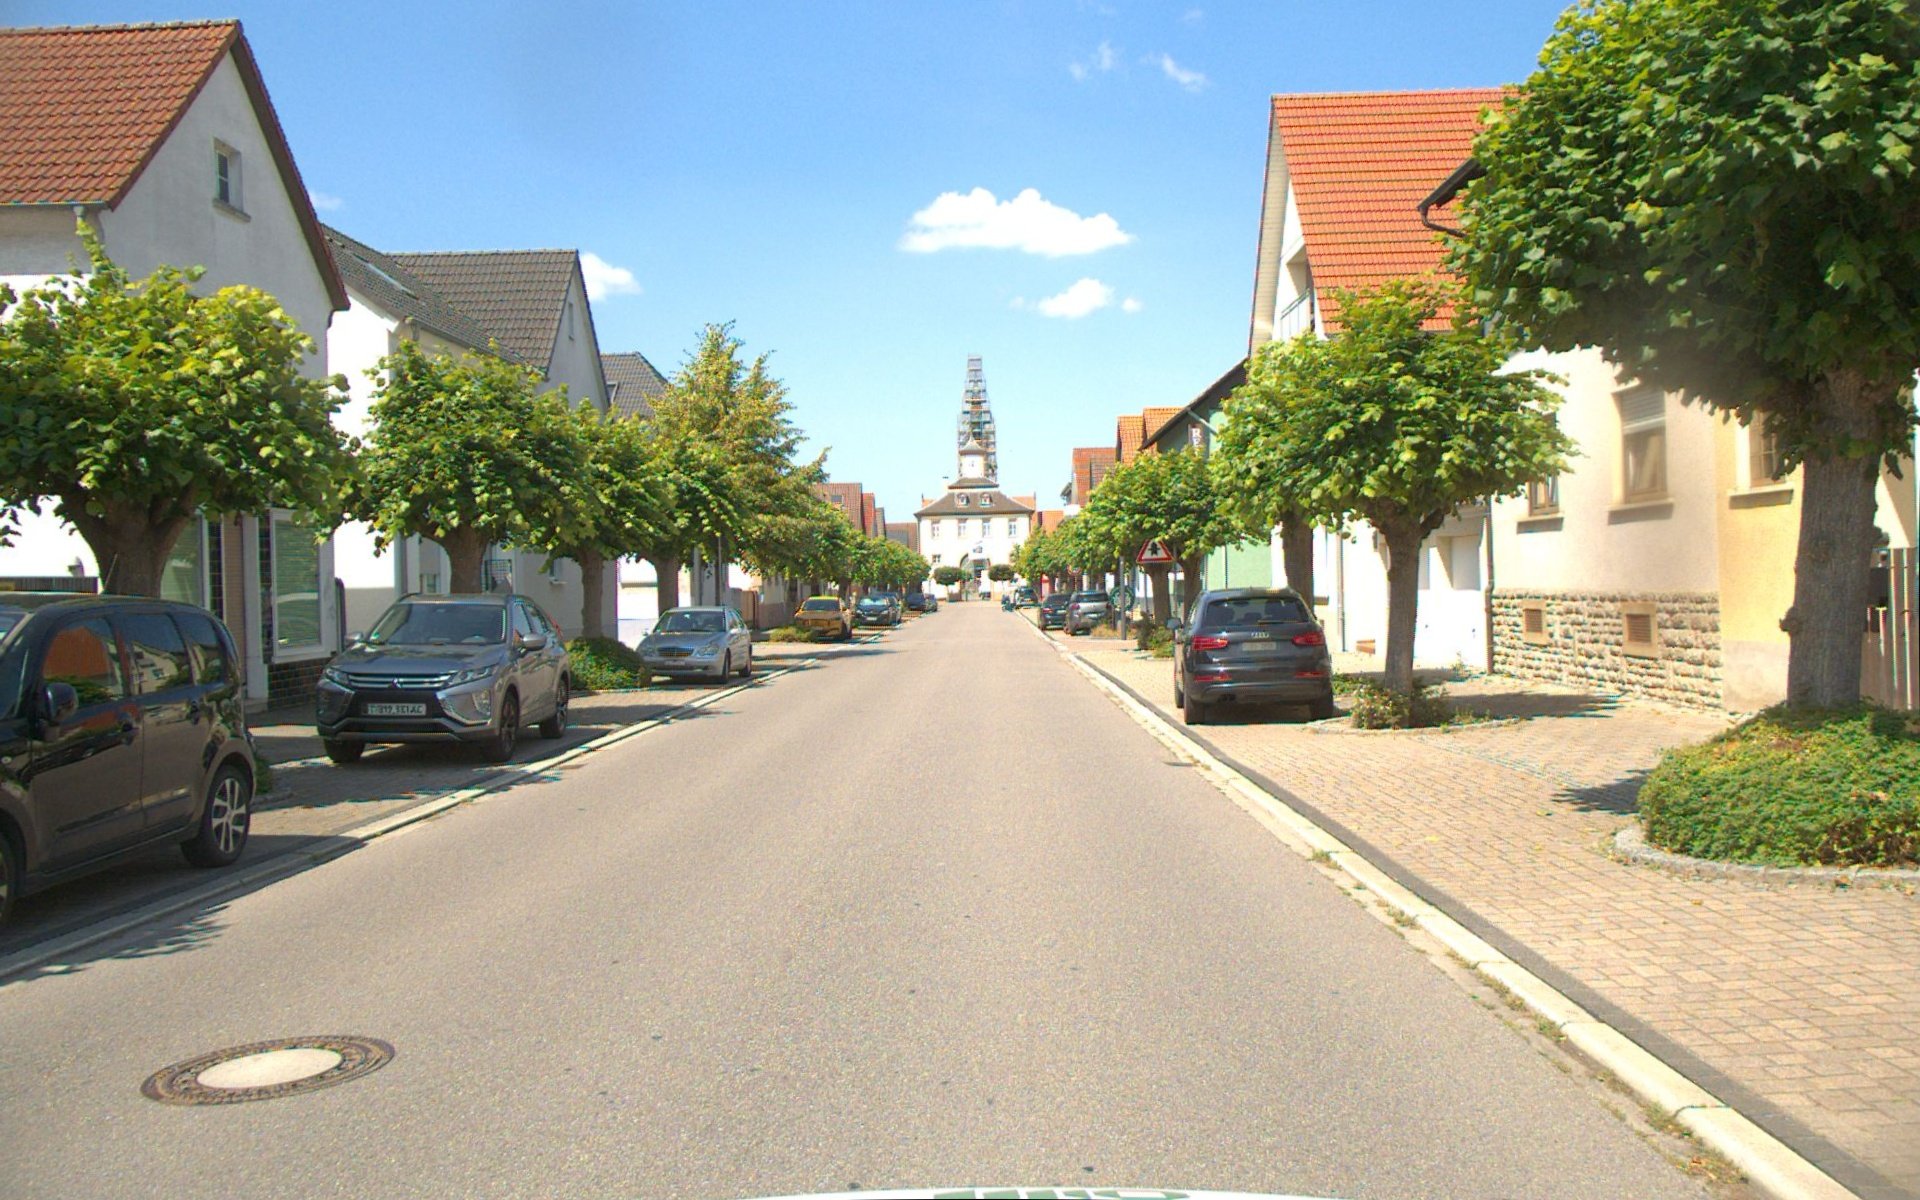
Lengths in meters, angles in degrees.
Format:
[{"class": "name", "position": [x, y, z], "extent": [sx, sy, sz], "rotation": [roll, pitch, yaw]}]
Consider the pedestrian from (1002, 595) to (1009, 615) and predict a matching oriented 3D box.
[{"class": "pedestrian", "position": [3.265, 0.367, 118.495], "extent": [0.352, 1.427, 0.319], "rotation": [-1, 0, 38]}]

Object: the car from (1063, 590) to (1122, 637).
[{"class": "car", "position": [4.891, 0.470, 61.375], "extent": [1.800, 1.636, 4.000], "rotation": [-1, 0, 0]}]

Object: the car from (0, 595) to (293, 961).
[{"class": "car", "position": [-5.251, 0.808, 8.639], "extent": [1.815, 1.664, 4.057], "rotation": [1, 0, 1]}]

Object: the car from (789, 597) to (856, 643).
[{"class": "car", "position": [-5.104, 0.711, 61.835], "extent": [1.952, 1.639, 4.690], "rotation": [0, 0, 2]}]

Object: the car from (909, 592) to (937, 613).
[{"class": "car", "position": [-2.942, 0.177, 132.075], "extent": [1.952, 1.639, 3.856], "rotation": [0, -1, 2]}]

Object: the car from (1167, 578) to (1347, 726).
[{"class": "car", "position": [3.645, 0.578, 20.930], "extent": [1.786, 1.613, 4.059], "rotation": [-3, 0, 5]}]

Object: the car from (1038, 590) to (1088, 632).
[{"class": "car", "position": [4.255, 0.430, 69.028], "extent": [1.800, 1.582, 4.314], "rotation": [-3, 0, 1]}]

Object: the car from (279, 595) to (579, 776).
[{"class": "car", "position": [-5.472, 0.795, 17.666], "extent": [1.953, 1.681, 4.365], "rotation": [0, 0, -3]}]

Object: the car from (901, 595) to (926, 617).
[{"class": "car", "position": [-3.527, 0.448, 126.338], "extent": [1.721, 1.582, 4.021], "rotation": [-1, 0, 1]}]

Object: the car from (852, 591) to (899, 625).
[{"class": "car", "position": [-4.216, 0.386, 83.352], "extent": [1.952, 1.639, 4.690], "rotation": [0, 1, 2]}]

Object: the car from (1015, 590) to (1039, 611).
[{"class": "car", "position": [5.330, 0.028, 131.893], "extent": [1.799, 1.582, 4.314], "rotation": [-3, 0, 1]}]

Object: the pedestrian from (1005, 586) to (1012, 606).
[{"class": "pedestrian", "position": [3.445, -0.294, 117.503], "extent": [0.352, 1.427, 0.319], "rotation": [-1, 0, 38]}]

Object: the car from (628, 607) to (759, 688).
[{"class": "car", "position": [-5.089, 0.865, 32.162], "extent": [1.803, 1.420, 4.406], "rotation": [0, 0, 0]}]
